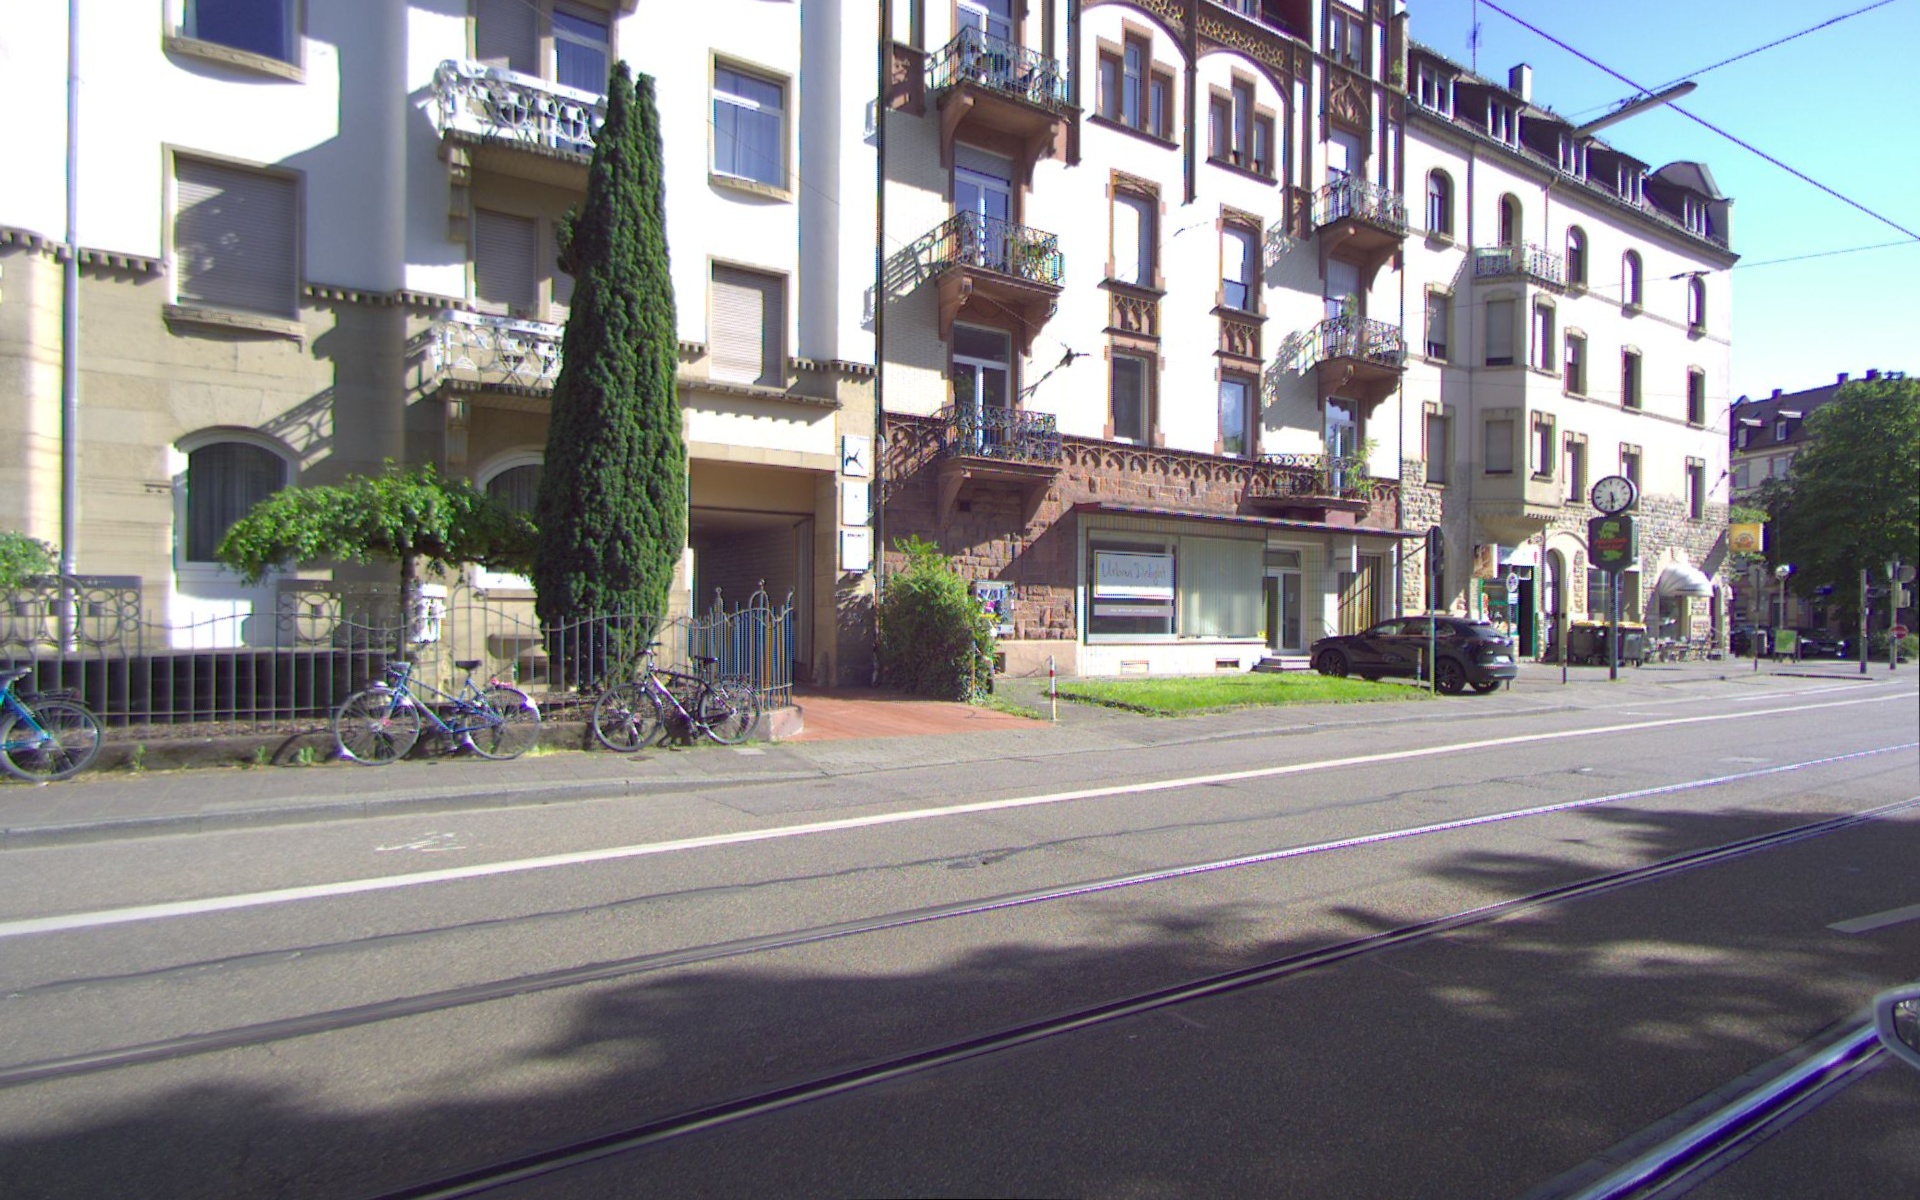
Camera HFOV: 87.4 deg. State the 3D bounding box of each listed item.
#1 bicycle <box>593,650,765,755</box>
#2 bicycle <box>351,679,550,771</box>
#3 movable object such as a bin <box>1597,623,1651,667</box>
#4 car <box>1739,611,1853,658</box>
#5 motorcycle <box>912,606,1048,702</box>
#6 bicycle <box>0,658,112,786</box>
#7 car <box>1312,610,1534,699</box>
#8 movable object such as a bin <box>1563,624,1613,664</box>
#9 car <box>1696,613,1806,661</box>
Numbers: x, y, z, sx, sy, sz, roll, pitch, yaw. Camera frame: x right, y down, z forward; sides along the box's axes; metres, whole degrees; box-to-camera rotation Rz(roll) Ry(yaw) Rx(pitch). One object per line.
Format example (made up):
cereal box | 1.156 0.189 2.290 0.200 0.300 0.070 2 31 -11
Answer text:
bicycle | -3.008 1.079 10.843 1.728 1.053 0.402 2 0 -31
bicycle | -4.765 1.150 9.457 1.633 0.772 0.316 2 0 -31
movable object such as a bin | 20.702 1.396 31.306 1.128 1.290 0.942 2 0 -26
car | 39.308 1.589 47.373 1.961 2.040 3.999 2 0 -1
motorcycle | 0.270 0.884 17.625 0.814 1.476 3.067 2 0 -32
bicycle | -7.710 0.938 7.736 1.728 0.955 0.402 2 0 -31
car | 9.856 1.099 21.650 1.755 1.523 3.958 2 1 -36
movable object such as a bin | 19.982 1.394 31.954 1.228 1.239 0.829 2 0 -28
car | 37.060 1.695 47.197 1.961 2.040 3.999 2 0 -1
